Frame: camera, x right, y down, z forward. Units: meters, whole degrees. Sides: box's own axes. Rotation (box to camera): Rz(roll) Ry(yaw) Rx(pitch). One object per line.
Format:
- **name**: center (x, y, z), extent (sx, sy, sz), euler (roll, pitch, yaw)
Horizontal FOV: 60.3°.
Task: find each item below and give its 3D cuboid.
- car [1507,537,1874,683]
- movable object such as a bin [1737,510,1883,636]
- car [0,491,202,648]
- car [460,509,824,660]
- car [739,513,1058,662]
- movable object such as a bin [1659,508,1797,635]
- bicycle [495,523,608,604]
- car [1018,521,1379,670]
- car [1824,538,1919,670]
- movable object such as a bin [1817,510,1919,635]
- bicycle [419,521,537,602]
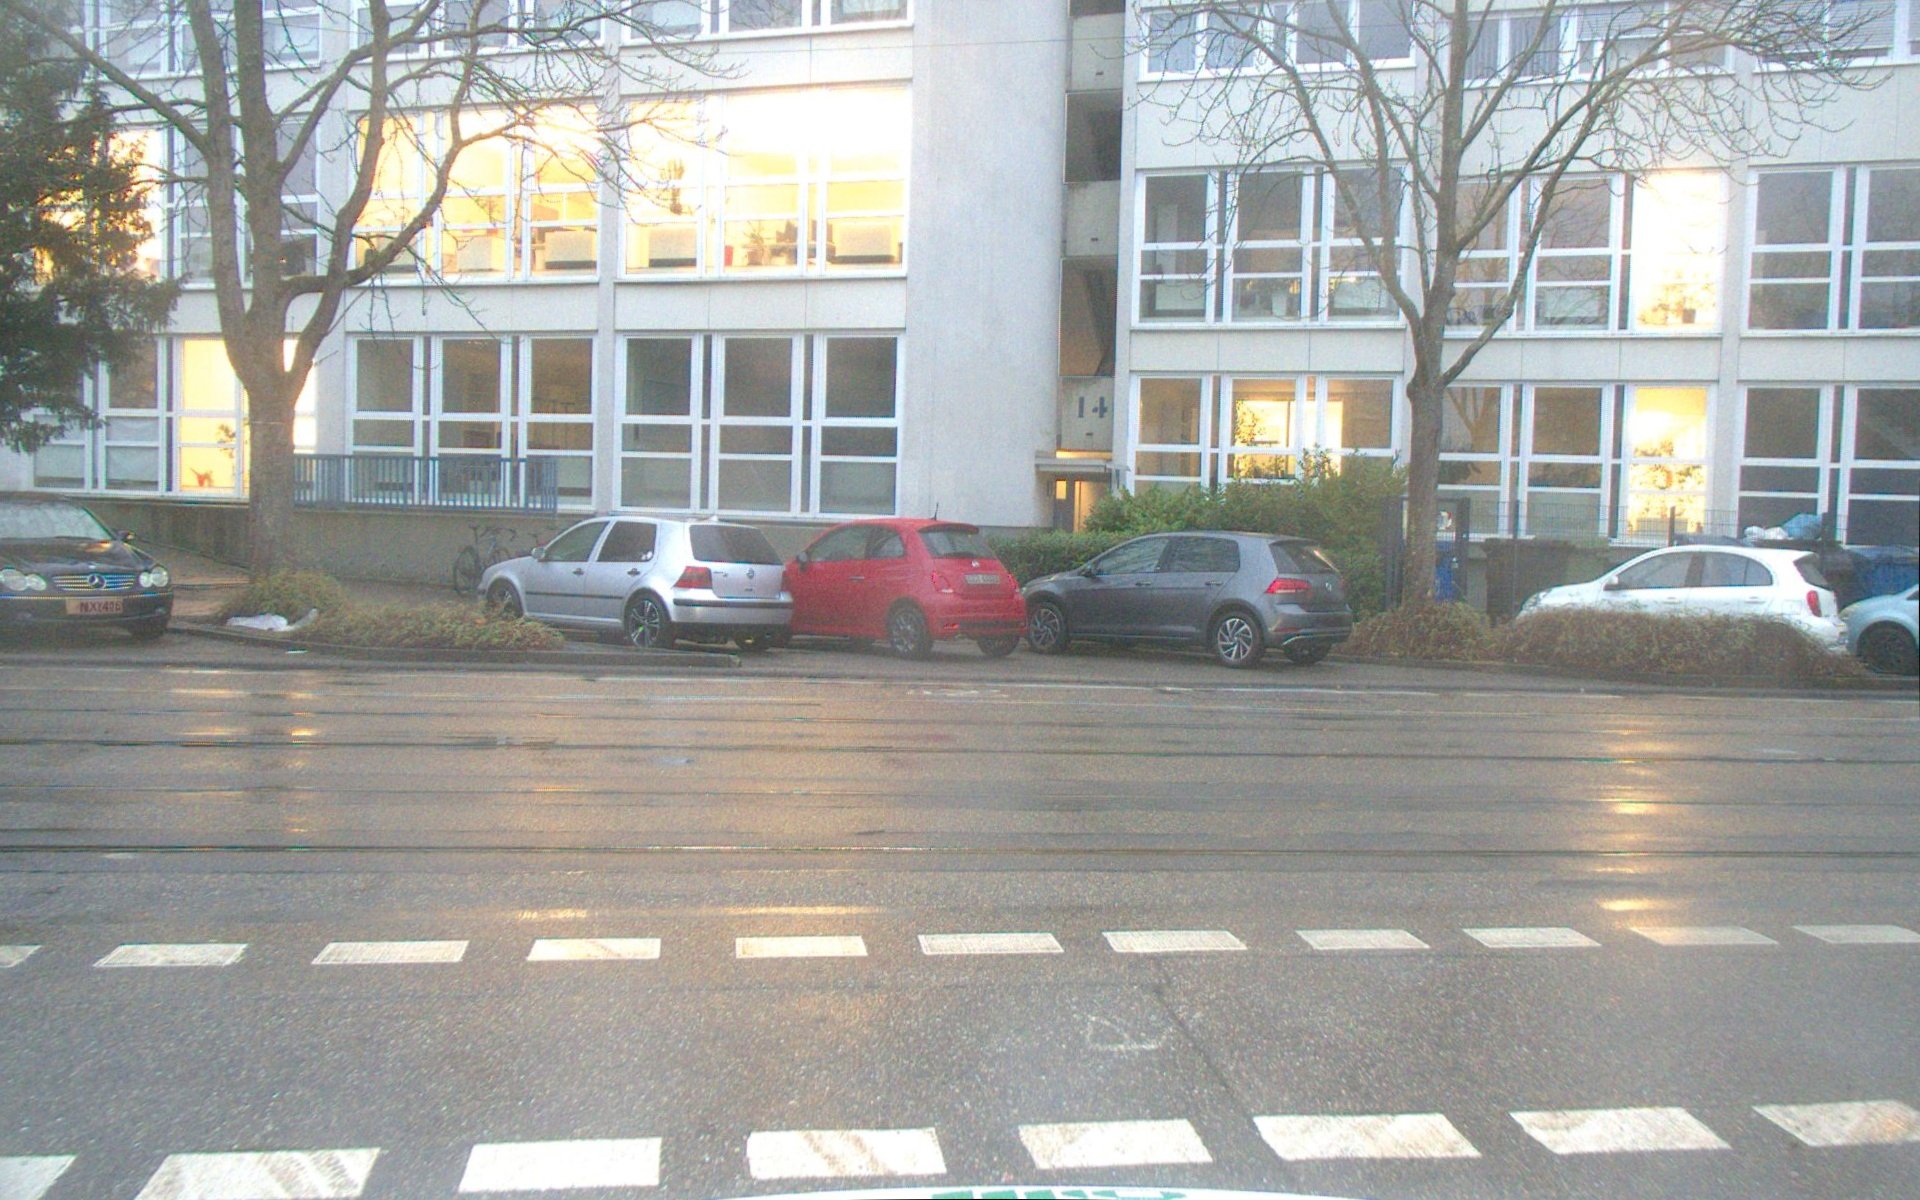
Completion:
- **car**: center (8.892, 0.046, 20.267), extent (3.802, 1.578, 1.686), euler (3, 3, 38)
- **movable object such as a bin**: center (13.171, -0.446, 25.681), extent (1.362, 1.892, 1.573), euler (0, 2, -6)
- **car**: center (-9.494, -0.368, 16.787), extent (3.928, 1.402, 1.846), euler (3, 3, 41)
- **car**: center (-3.556, -0.243, 18.201), extent (3.922, 1.471, 1.786), euler (3, 3, 37)
- **car**: center (-0.749, -0.206, 18.821), extent (3.389, 1.518, 1.720), euler (3, 3, 41)
- **movable object such as a bin**: center (11.815, -0.457, 25.500), extent (1.288, 1.892, 1.573), euler (0, 2, -6)
- **bicycle**: center (-5.987, -0.561, 24.379), extent (0.626, 1.140, 2.208), euler (1, 2, 15)
- **car**: center (2.672, -0.123, 18.966), extent (3.781, 1.518, 1.688), euler (3, 3, 39)
- **car**: center (12.903, 0.068, 20.127), extent (3.928, 1.590, 1.727), euler (3, 3, 41)
- **movable object such as a bin**: center (14.485, -0.456, 25.833), extent (1.288, 1.892, 1.573), euler (0, 2, -6)
- **bicycle**: center (-7.158, -0.593, 24.677), extent (0.626, 1.140, 2.208), euler (1, 2, 15)
